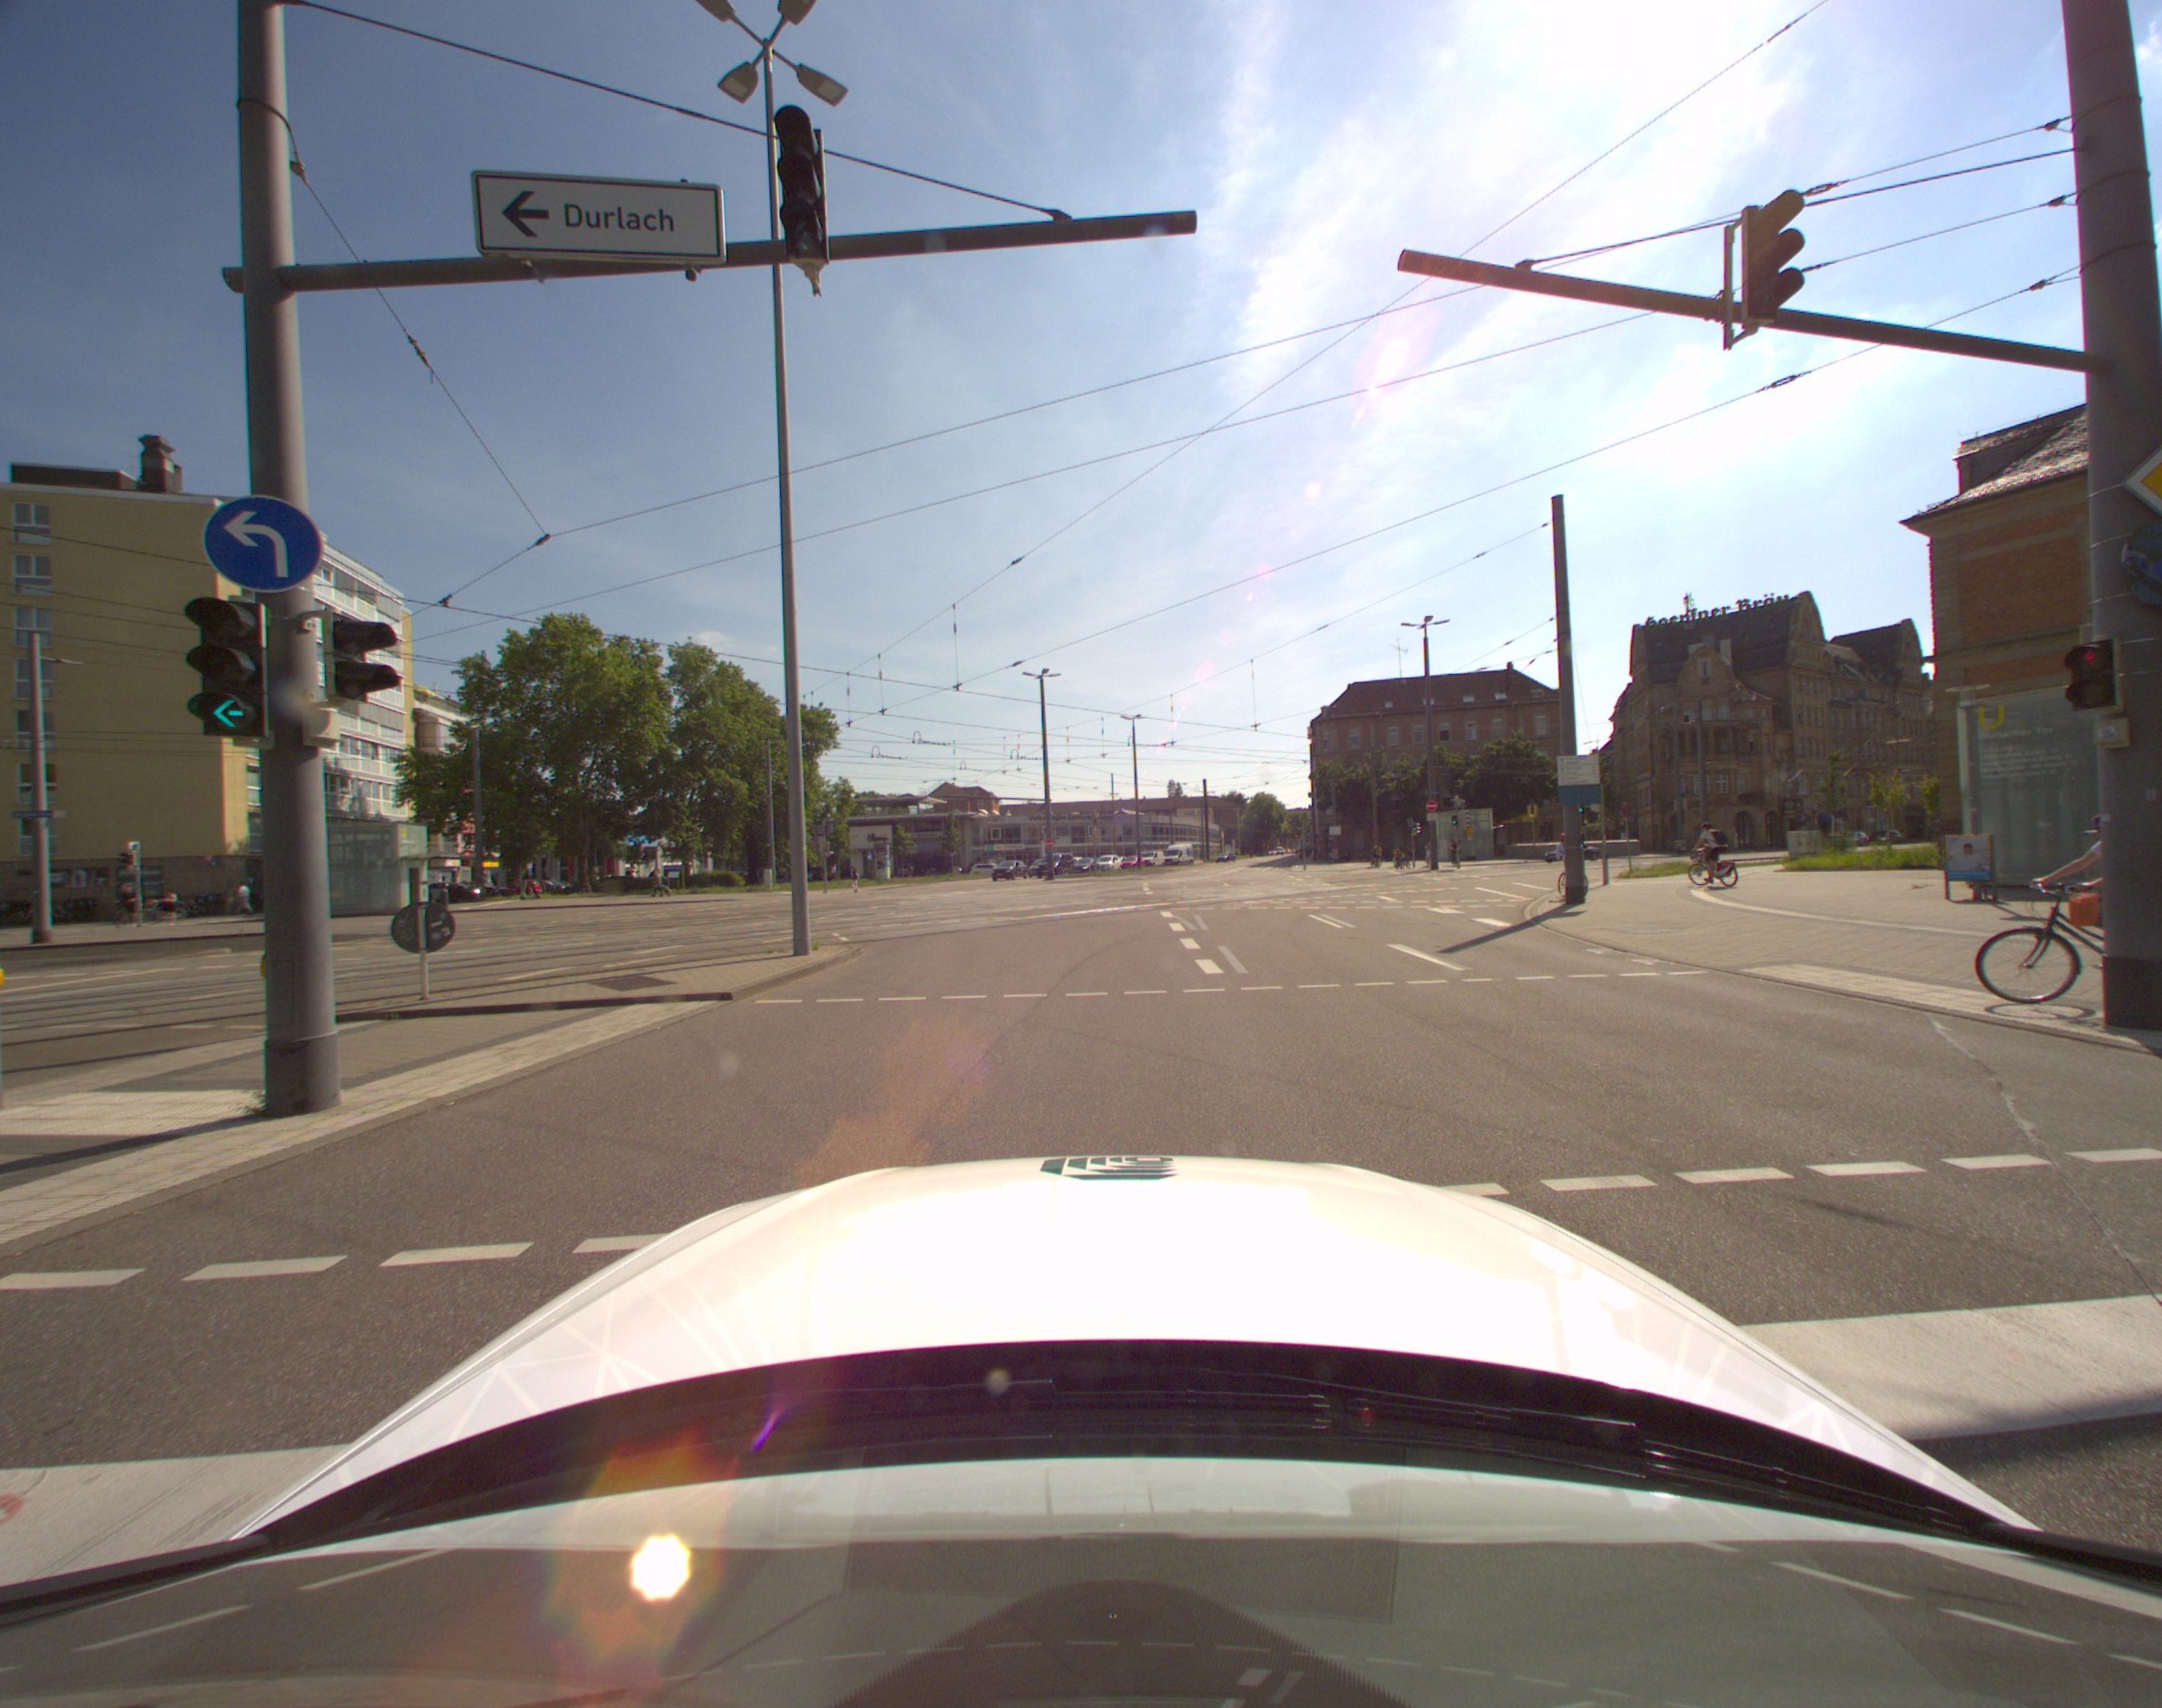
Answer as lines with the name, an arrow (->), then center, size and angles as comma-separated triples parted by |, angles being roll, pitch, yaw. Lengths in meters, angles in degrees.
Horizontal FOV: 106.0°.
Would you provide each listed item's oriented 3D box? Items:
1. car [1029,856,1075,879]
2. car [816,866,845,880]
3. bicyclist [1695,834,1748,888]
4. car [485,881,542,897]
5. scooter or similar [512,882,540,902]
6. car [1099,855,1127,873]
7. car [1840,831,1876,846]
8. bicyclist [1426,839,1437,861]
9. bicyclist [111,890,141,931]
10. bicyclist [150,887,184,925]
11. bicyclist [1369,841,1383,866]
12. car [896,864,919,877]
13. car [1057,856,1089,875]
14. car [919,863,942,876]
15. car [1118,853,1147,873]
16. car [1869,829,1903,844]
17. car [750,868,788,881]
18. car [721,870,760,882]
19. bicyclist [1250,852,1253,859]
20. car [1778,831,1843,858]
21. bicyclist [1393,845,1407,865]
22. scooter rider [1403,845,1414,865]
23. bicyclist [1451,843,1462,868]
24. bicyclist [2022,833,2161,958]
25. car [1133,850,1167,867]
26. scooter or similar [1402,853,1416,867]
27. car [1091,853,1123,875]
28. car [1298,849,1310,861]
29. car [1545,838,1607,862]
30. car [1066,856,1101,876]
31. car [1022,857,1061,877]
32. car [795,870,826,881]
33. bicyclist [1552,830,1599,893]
car -> -2.169, 0.981, 62.169 | 1.945, 1.588, 4.738 | -2, 0, 19
car -> -30.644, 2.366, 99.853 | 1.983, 1.684, 4.007 | 0, -1, 6
bicyclist -> 17.964, 0.191, 22.873 | 0.712, 1.488, 0.949 | 0, -1, -3
car -> -50.477, 3.105, 72.525 | 3.730, 1.340, 1.734 | 0, -1, -16
scooter or similar -> -32.640, 2.217, 47.929 | 1.351, 1.119, 0.519 | -2, 0, 11
car -> 3.468, 1.050, 88.036 | 1.792, 1.846, 4.220 | -3, -2, 18
car -> 77.036, -1.537, 80.709 | 3.594, 1.345, 1.623 | -2, 0, -30
bicyclist -> 25.376, -0.277, 58.960 | 0.497, 1.621, 0.651 | 0, 0, 6
bicyclist -> -41.215, 2.435, 35.134 | 0.584, 1.735, 0.613 | -3, -1, -22
bicyclist -> -39.636, 2.244, 35.324 | 0.728, 1.572, 0.613 | -3, -1, 2
bicyclist -> 21.601, -0.007, 59.692 | 0.918, 1.820, 1.057 | -1, -1, 20
car -> -21.032, 2.022, 98.878 | 1.987, 1.486, 3.999 | -2, 0, 0
car -> -0.708, 1.086, 76.308 | 1.638, 1.739, 4.220 | -3, -2, 18
car -> -18.260, 1.876, 98.812 | 1.987, 1.486, 3.999 | 0, -1, 0
car -> 5.287, 0.938, 83.444 | 1.879, 1.917, 4.220 | -3, -2, 18
car -> 83.451, -1.801, 84.412 | 3.621, 1.345, 1.623 | -2, 0, -30
car -> -39.630, 2.611, 103.580 | 3.975, 1.552, 1.999 | -2, 0, -1
car -> -41.999, 2.739, 100.568 | 3.973, 1.371, 2.000 | 0, -1, 0
bicyclist -> 36.405, 0.342, 173.875 | 0.746, 1.568, 1.091 | -1, -1, 15
car -> 38.662, -0.502, 43.159 | 3.465, 1.313, 1.655 | -2, 0, -32
bicyclist -> 23.326, 0.091, 59.520 | 0.918, 1.452, 1.258 | -1, 0, 20
scooter rider -> 22.806, 0.057, 56.697 | 0.584, 1.397, 0.407 | 0, -1, 1
bicyclist -> 24.781, 0.109, 53.745 | 0.661, 1.624, 0.787 | -1, 0, 24
bicyclist -> 9.163, 0.360, 7.191 | 0.904, 1.029, 0.721 | -5, -2, 35
car -> 7.655, 0.458, 90.472 | 2.165, 1.680, 5.057 | -3, -1, 24
scooter or similar -> 22.808, 0.403, 56.665 | 0.584, 0.976, 0.992 | 0, -1, 1
car -> 2.487, 0.931, 76.585 | 1.879, 1.917, 4.220 | -3, -2, 18
car -> 44.672, 0.171, 163.058 | 2.092, 2.013, 4.017 | -4, 0, 16
car -> 35.662, -0.319, 58.656 | 3.999, 1.584, 1.628 | -2, -1, -19
car -> 0.268, 1.042, 69.320 | 1.880, 1.588, 4.016 | -3, -2, 16
car -> -3.298, 1.093, 69.021 | 1.879, 1.588, 4.019 | -3, -2, 18
car -> -33.003, 2.589, 99.489 | 1.983, 1.244, 4.007 | 0, -1, 6
bicyclist -> 13.611, 0.208, 22.435 | 0.710, 1.669, 0.877 | -4, -1, 9
